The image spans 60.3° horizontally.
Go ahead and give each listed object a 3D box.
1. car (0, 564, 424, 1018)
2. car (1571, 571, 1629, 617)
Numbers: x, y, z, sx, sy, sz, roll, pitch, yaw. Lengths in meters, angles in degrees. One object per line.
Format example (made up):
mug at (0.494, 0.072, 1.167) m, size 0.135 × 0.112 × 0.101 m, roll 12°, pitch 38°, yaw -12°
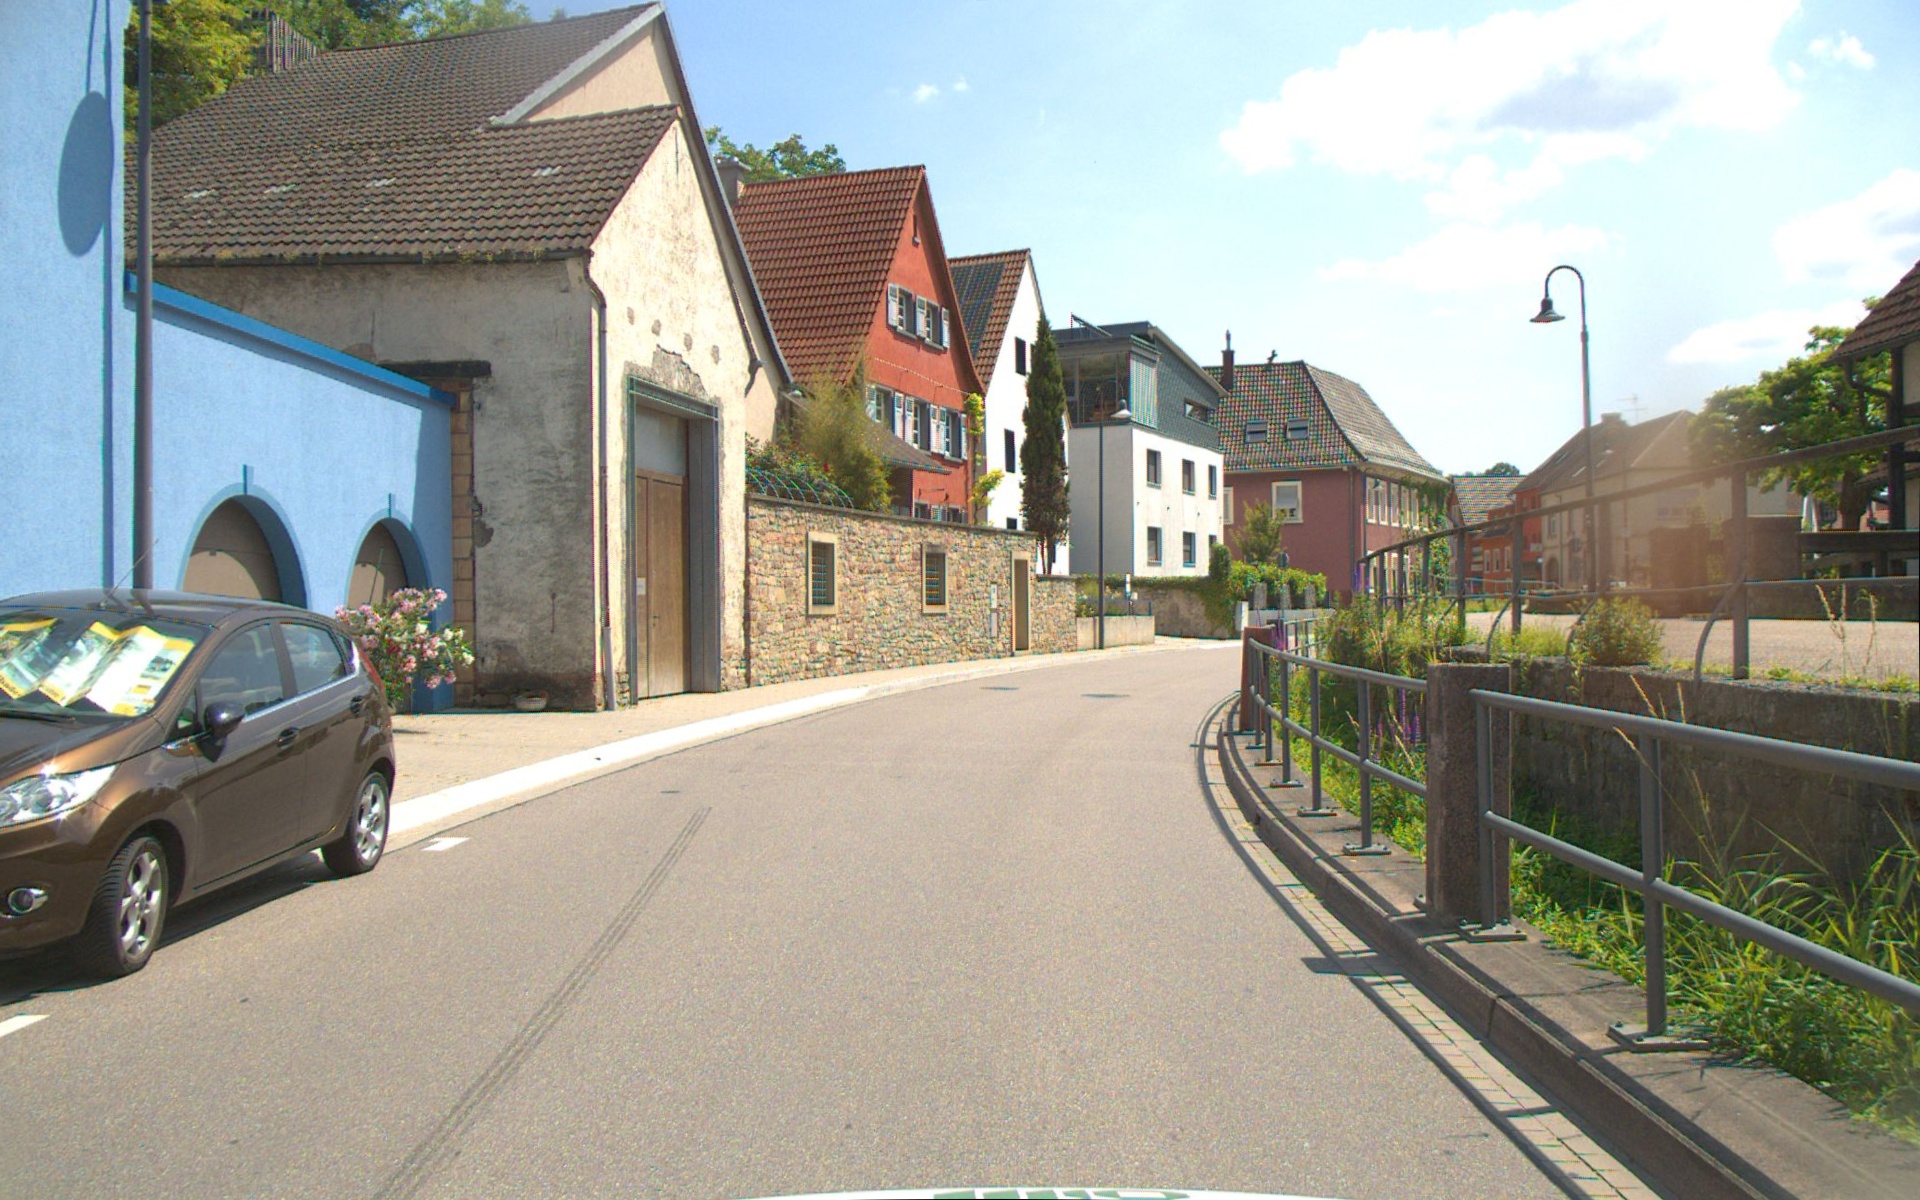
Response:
car at (-3.986, 0.640, 7.618) m, size 1.681 × 1.557 × 3.857 m, roll 1°, pitch 0°, yaw 1°
car at (29.698, -0.291, 76.725) m, size 1.864 × 2.015 × 3.106 m, roll -4°, pitch -1°, yaw 32°
